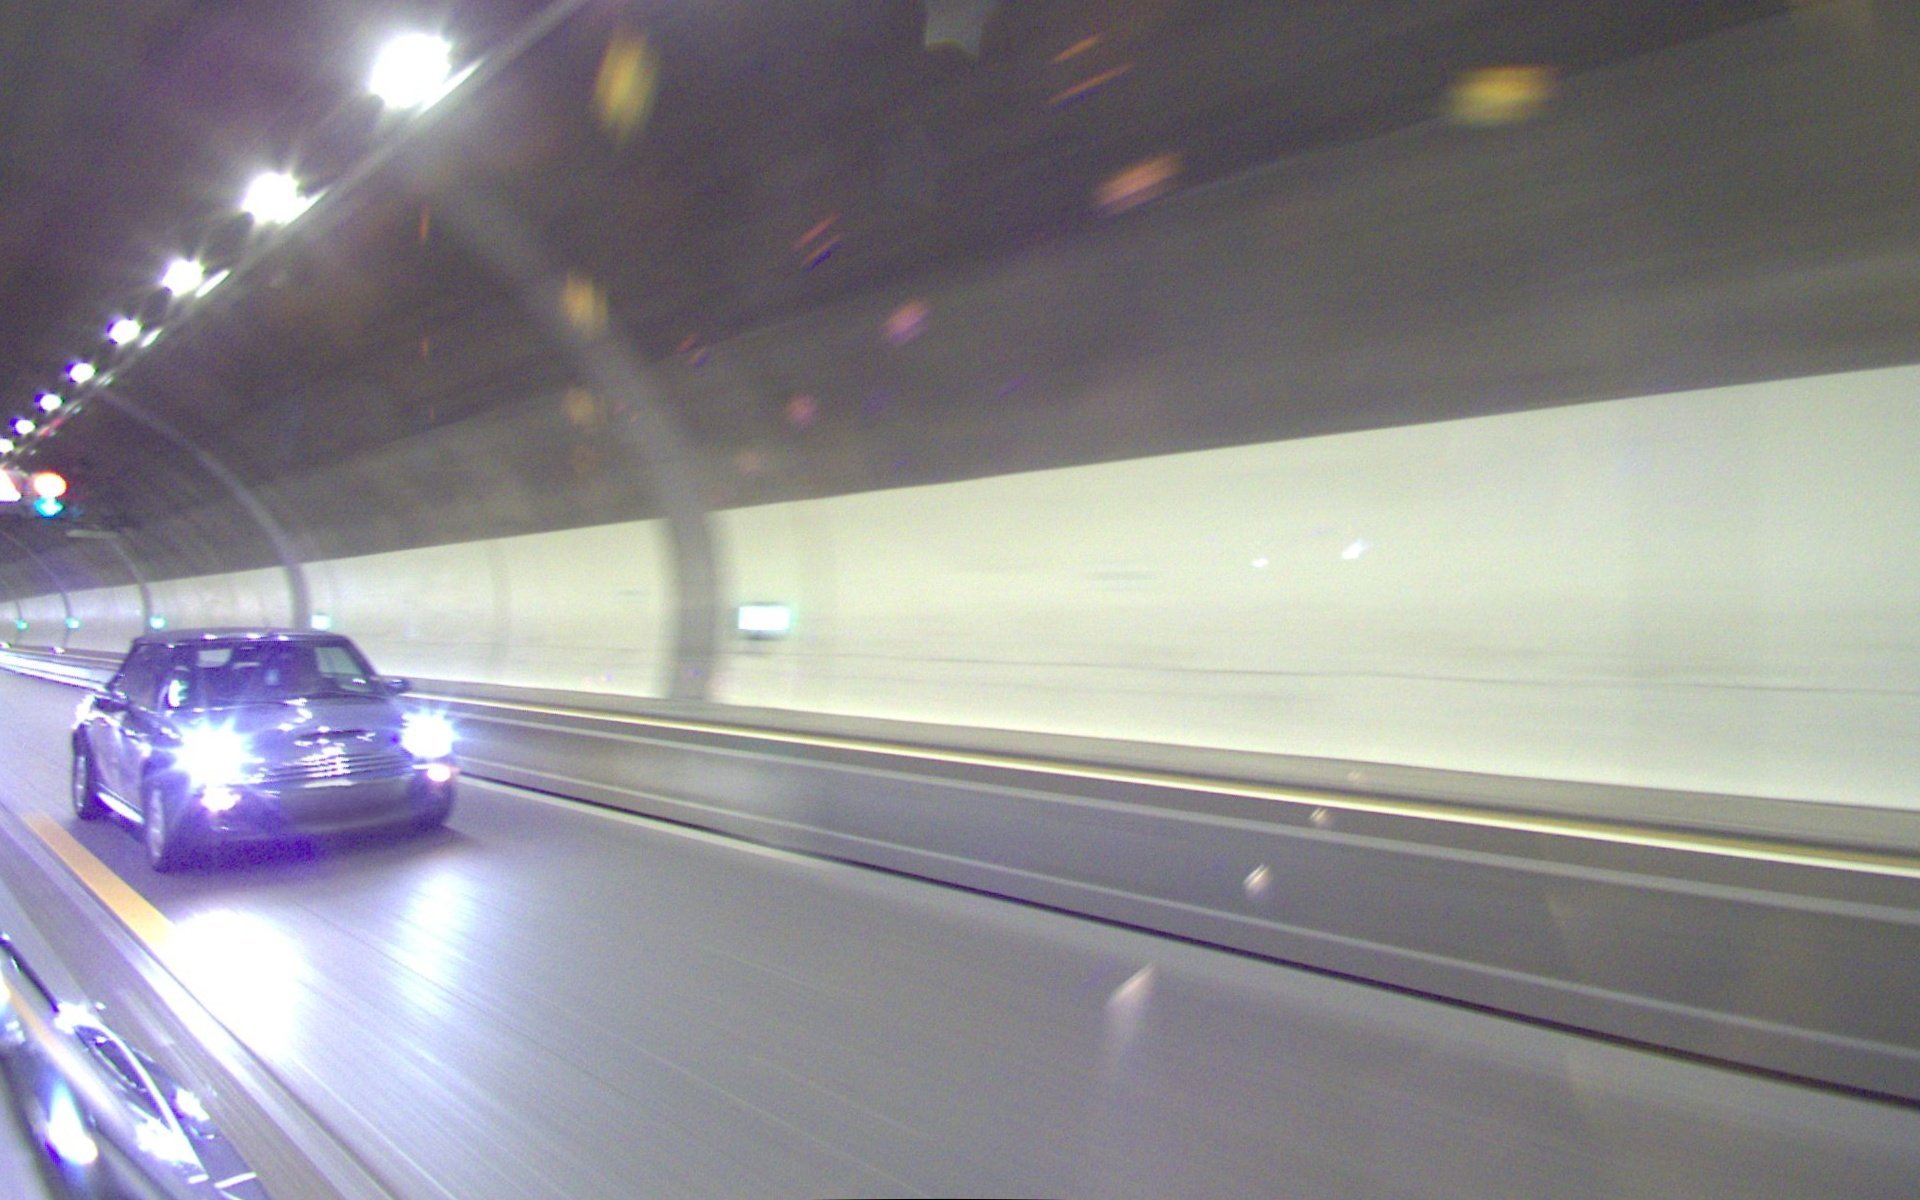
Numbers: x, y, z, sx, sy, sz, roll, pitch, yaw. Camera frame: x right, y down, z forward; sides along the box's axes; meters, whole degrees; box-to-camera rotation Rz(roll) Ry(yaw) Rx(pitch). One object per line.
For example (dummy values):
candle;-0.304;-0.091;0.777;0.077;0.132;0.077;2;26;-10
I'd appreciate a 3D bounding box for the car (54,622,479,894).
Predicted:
car;-5.030;0.878;7.164;3.655;1.414;1.635;-1;-1;41
